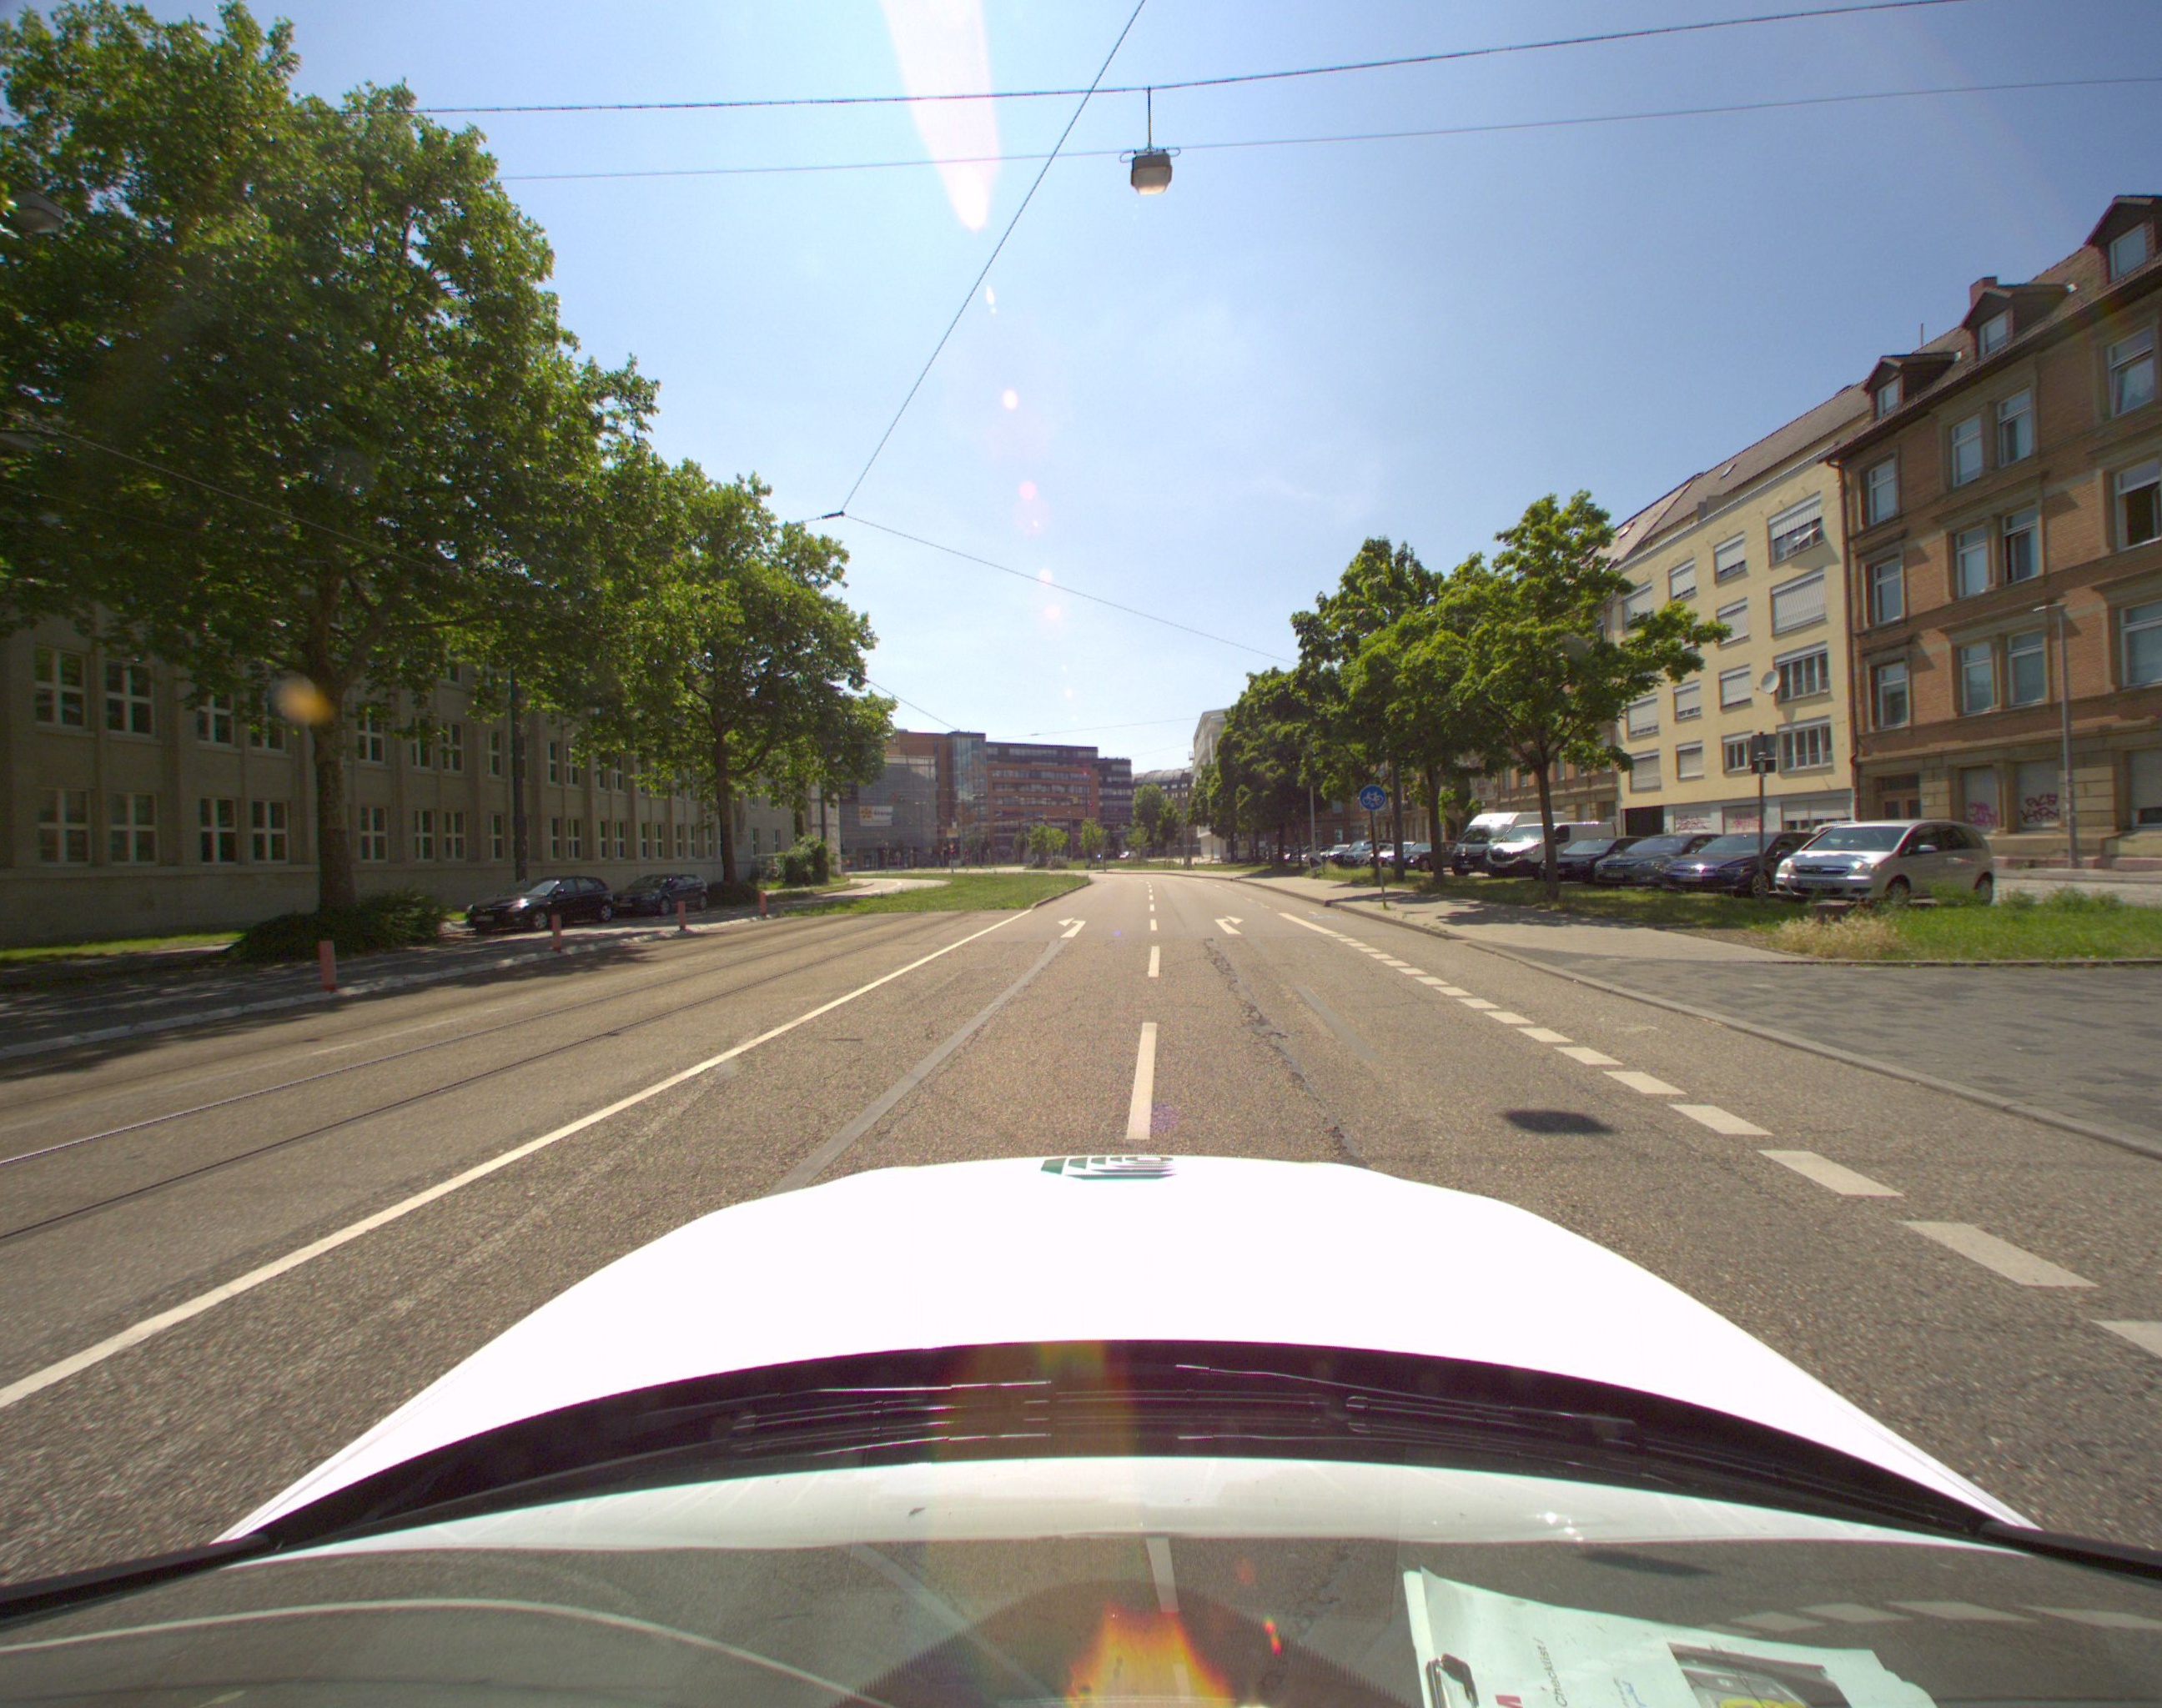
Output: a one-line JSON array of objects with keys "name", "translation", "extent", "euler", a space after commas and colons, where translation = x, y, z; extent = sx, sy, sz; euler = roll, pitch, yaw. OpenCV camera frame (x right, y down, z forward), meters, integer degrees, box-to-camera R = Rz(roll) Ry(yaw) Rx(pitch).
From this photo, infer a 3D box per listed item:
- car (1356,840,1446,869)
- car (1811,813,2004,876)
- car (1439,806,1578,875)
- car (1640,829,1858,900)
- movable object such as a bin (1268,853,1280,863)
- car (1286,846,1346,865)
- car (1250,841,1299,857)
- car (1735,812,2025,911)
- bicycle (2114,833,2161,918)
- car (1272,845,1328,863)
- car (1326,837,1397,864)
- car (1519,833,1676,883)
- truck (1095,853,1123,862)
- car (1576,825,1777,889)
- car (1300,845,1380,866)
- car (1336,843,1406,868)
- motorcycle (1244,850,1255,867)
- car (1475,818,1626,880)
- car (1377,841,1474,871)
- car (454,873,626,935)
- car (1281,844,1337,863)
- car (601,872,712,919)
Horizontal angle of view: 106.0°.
[{"name": "car", "translation": [16.755, 0.027, 42.577], "extent": [4.709, 1.427, 1.952], "euler": [-1, 0, -32]}, {"name": "car", "translation": [24.327, -0.251, 24.221], "extent": [1.811, 1.684, 4.004], "euler": [-1, 0, 3]}, {"name": "car", "translation": [16.442, -0.505, 31.225], "extent": [5.571, 2.460, 2.215], "euler": [-1, 0, -32]}, {"name": "car", "translation": [14.704, 0.195, 17.965], "extent": [3.996, 1.399, 1.813], "euler": [-1, 0, -17]}, {"name": "movable object such as a bin", "translation": [17.363, 0.343, 73.195], "extent": [0.978, 0.937, 0.704], "euler": [-1, 0, 16]}, {"name": "car", "translation": [17.843, 0.121, 61.947], "extent": [3.997, 1.313, 1.961], "euler": [-1, 0, -18]}, {"name": "car", "translation": [20.488, -0.543, 86.250], "extent": [4.879, 1.601, 1.822], "euler": [-1, 0, -23]}, {"name": "car", "translation": [14.690, 0.094, 15.019], "extent": [4.410, 1.632, 1.988], "euler": [-1, 0, -18]}, {"name": "bicycle", "translation": [15.459, 0.292, 11.317], "extent": [0.731, 1.193, 2.375], "euler": [-1, 0, 36]}, {"name": "car", "translation": [18.158, 0.000, 67.540], "extent": [4.351, 1.376, 1.571], "euler": [-1, 0, -22]}, {"name": "car", "translation": [17.958, -0.214, 52.130], "extent": [4.002, 1.662, 1.958], "euler": [-1, 0, -22]}, {"name": "car", "translation": [15.445, 0.101, 24.381], "extent": [3.996, 1.387, 1.813], "euler": [-1, 0, -17]}, {"name": "truck", "translation": [8.720, 1.113, 255.010], "extent": [9.120, 2.809, 2.013], "euler": [-1, 0, 36]}, {"name": "car", "translation": [15.403, 0.047, 21.079], "extent": [4.633, 1.497, 1.952], "euler": [-1, 0, -20]}, {"name": "car", "translation": [17.261, 0.083, 54.314], "extent": [4.784, 1.313, 2.137], "euler": [-1, 0, -18]}, {"name": "car", "translation": [17.463, 0.085, 49.020], "extent": [4.010, 1.400, 1.697], "euler": [-1, 0, -28]}, {"name": "motorcycle", "translation": [15.072, 0.395, 72.775], "extent": [0.671, 1.413, 1.860], "euler": [-3, 0, 6]}, {"name": "car", "translation": [16.034, -0.197, 27.805], "extent": [4.855, 1.973, 2.060], "euler": [-1, 0, -25]}, {"name": "car", "translation": [16.549, 0.096, 39.111], "extent": [4.443, 1.338, 1.954], "euler": [-1, 0, -28]}, {"name": "car", "translation": [-15.328, 1.353, 23.403], "extent": [1.754, 1.483, 4.329], "euler": [-1, 0, 5]}, {"name": "car", "translation": [18.174, -0.044, 64.939], "extent": [4.097, 1.470, 1.784], "euler": [-1, 0, -23]}, {"name": "car", "translation": [-14.932, 1.409, 28.894], "extent": [1.582, 1.424, 4.324], "euler": [-1, 0, 1]}]
